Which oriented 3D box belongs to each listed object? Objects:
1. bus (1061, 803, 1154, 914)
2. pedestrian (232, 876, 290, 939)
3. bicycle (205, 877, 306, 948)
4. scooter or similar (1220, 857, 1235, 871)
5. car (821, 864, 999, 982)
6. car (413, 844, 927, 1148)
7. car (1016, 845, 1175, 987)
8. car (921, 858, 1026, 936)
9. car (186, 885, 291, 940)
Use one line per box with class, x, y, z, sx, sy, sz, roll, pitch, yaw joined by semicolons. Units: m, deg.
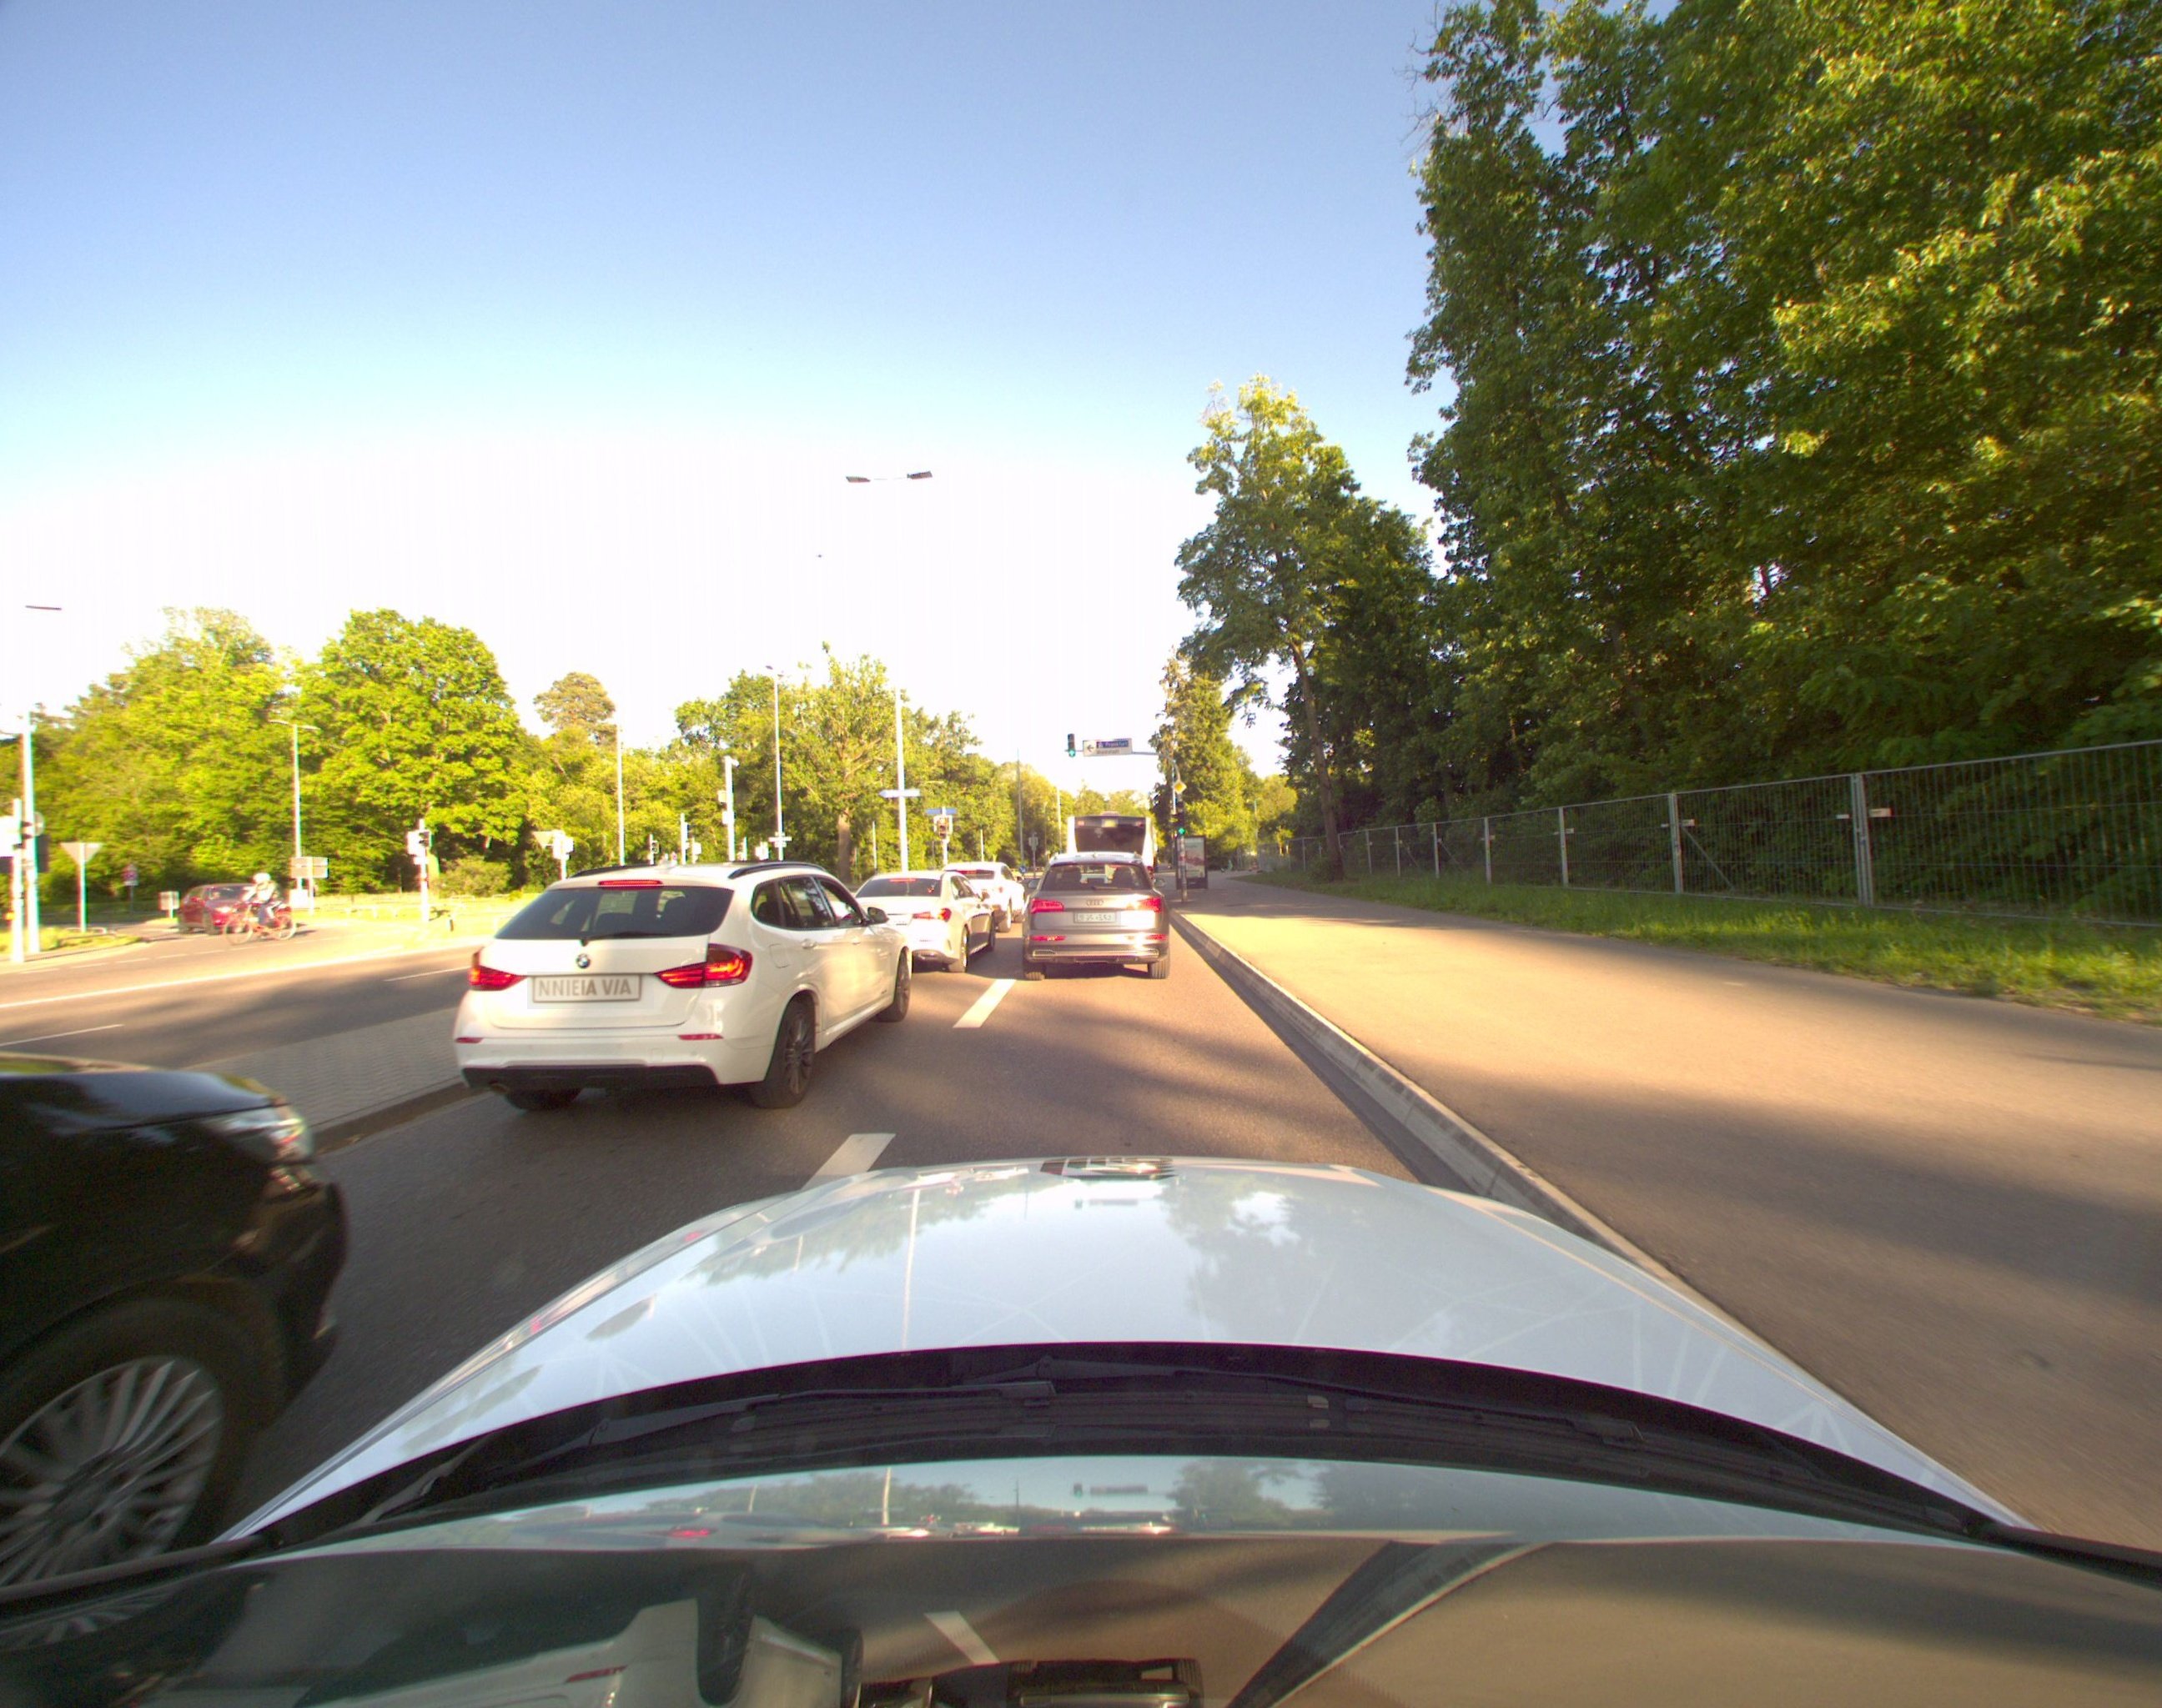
bus;0.910;0.122;26.188;2.668;3.142;5.886;0;0;3
pedestrian;-21.608;1.386;21.472;0.693;1.626;0.789;0;-1;1
bicycle;-21.692;1.504;21.460;0.613;1.750;1.993;0;-1;0
scooter or similar;12.398;0.840;68.863;1.175;1.174;0.661;0;0;13
car;-2.421;0.917;12.635;1.779;1.444;4.278;0;0;1
car;-2.568;0.767;6.473;1.712;1.581;4.435;0;-1;2
car;0.229;0.726;11.601;1.861;1.664;4.001;0;0;2
car;-2.364;0.910;18.952;1.801;1.572;4.001;0;0;2
car;-28.149;1.875;27.178;3.948;1.618;2.013;-1;-1;38
